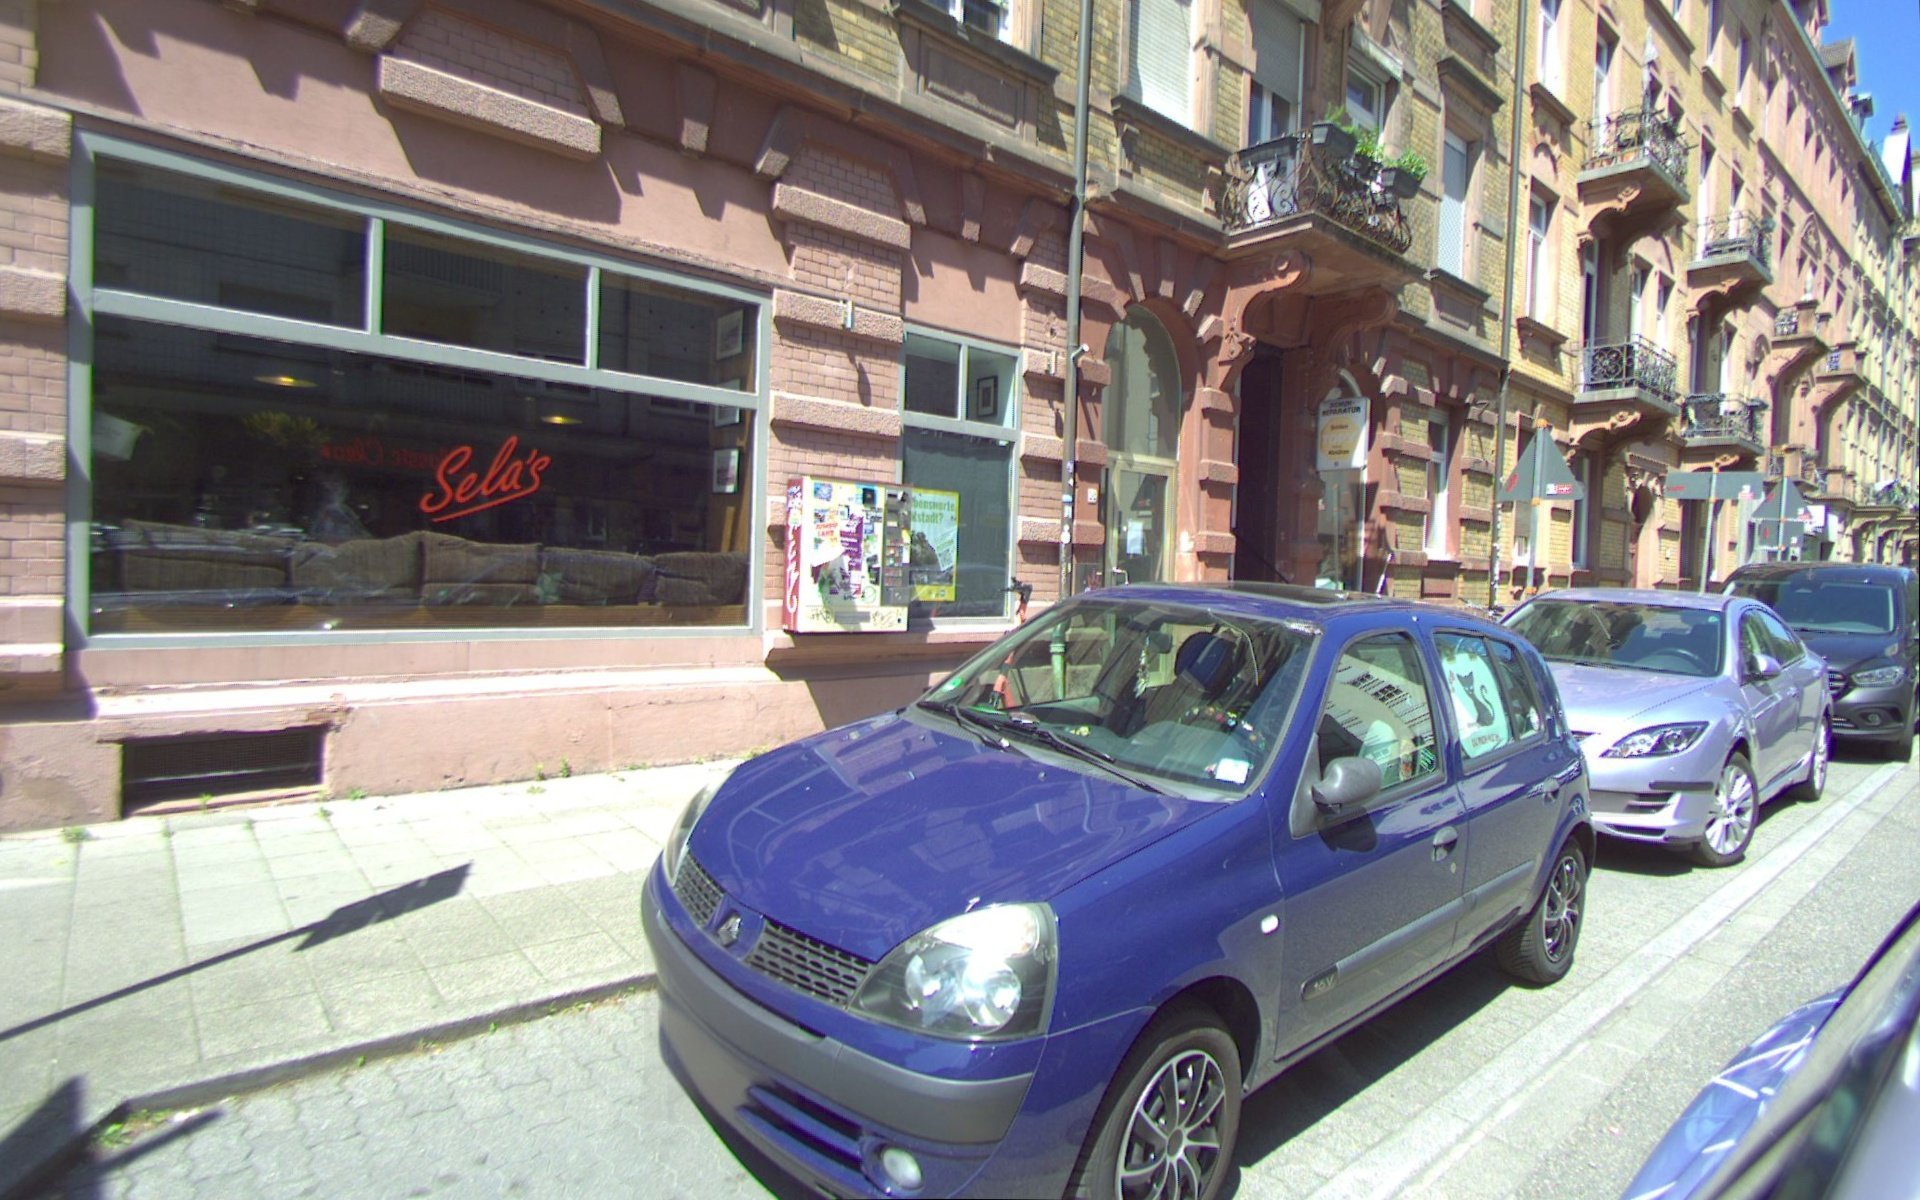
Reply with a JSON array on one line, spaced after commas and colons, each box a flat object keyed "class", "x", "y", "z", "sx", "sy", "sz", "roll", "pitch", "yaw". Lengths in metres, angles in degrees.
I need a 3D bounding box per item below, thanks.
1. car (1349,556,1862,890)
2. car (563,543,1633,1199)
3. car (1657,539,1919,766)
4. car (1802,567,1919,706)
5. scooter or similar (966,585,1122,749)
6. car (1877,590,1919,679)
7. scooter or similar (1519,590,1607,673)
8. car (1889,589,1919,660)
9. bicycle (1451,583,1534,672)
[{"class": "car", "x": 4.469, "y": 0.522, "z": 6.681, "sx": 4.409, "sy": 1.449, "sz": 1.728, "roll": 0, "pitch": 4, "yaw": -43}, {"class": "car", "x": 0.778, "y": 0.613, "z": 3.422, "sx": 3.598, "sy": 1.449, "sz": 1.630, "roll": 0, "pitch": 4, "yaw": -43}, {"class": "car", "x": 8.741, "y": 0.382, "z": 10.225, "sx": 4.264, "sy": 1.788, "sz": 1.828, "roll": 0, "pitch": 3, "yaw": -43}, {"class": "car", "x": 13.414, "y": 0.449, "z": 14.287, "sx": 3.930, "sy": 1.755, "sz": 1.705, "roll": 0, "pitch": 1, "yaw": -41}, {"class": "scooter or similar", "x": 0.665, "y": 0.493, "z": 7.840, "sx": 1.246, "sy": 1.191, "sz": 0.294, "roll": 1, "pitch": 1, "yaw": -31}, {"class": "car", "x": 17.484, "y": 0.573, "z": 17.912, "sx": 1.761, "sy": 1.467, "sz": 3.844, "roll": 2, "pitch": 2, "yaw": 43}, {"class": "scooter or similar", "x": 9.094, "y": 0.444, "z": 15.223, "sx": 2.112, "sy": 1.167, "sz": 0.477, "roll": 0, "pitch": 1, "yaw": -41}, {"class": "car", "x": 21.991, "y": 0.531, "z": 22.388, "sx": 3.933, "sy": 1.479, "sz": 1.827, "roll": 0, "pitch": 2, "yaw": -43}, {"class": "bicycle", "x": 7.163, "y": 0.351, "z": 13.575, "sx": 1.725, "sy": 1.117, "sz": 0.354, "roll": 0, "pitch": 2, "yaw": -41}]
